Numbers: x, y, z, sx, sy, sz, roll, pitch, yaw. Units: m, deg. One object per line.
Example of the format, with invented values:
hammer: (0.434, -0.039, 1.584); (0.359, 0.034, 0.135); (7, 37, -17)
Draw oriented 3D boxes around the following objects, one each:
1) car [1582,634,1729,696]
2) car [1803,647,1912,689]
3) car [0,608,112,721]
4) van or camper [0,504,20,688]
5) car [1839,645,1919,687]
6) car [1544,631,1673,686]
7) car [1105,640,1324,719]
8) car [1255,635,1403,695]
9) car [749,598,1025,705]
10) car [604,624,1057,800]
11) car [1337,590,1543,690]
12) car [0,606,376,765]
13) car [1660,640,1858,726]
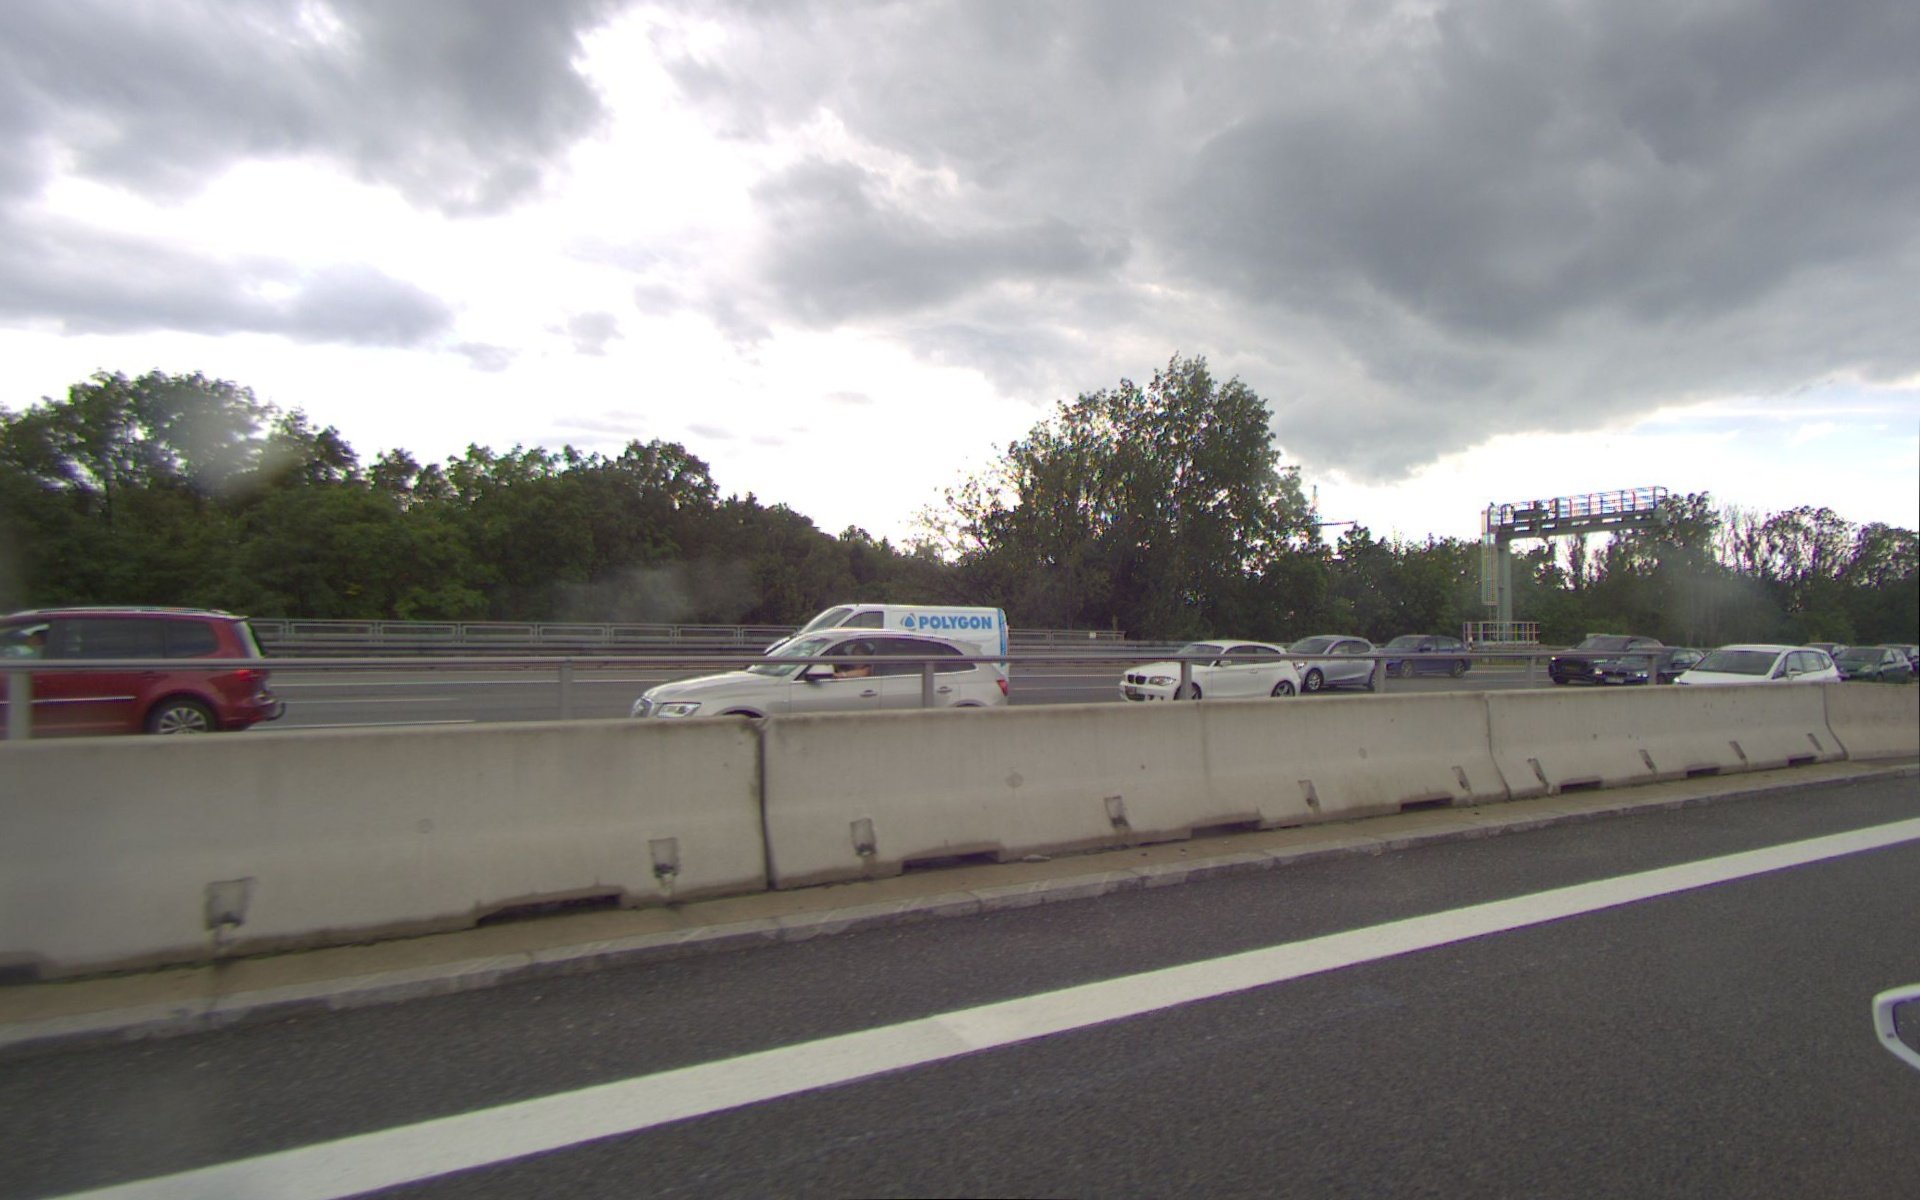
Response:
car: (20.915, 1.932, 30.167); (4.461, 1.668, 1.716); (2, 0, -27)
car: (33.149, 2.488, 37.075); (4.149, 1.437, 1.716); (2, -2, -28)
car: (-14.900, 0.834, 13.558); (4.956, 1.475, 1.716); (2, 0, -28)
van or camper: (-19.901, -0.181, 14.775); (8.376, 3.164, 2.613); (2, 0, -30)
car: (41.256, 2.925, 44.530); (5.171, 1.668, 1.716); (2, 0, -28)
car: (22.010, 1.977, 34.071); (4.463, 1.668, 1.716); (2, 0, -28)
car: (5.380, 1.625, 21.091); (4.463, 1.434, 1.716); (2, 0, -28)
car: (10.284, 1.791, 27.928); (3.912, 1.498, 1.715); (2, 0, -29)
car: (-1.424, 1.056, 20.815); (5.481, 1.962, 1.680); (2, 0, -29)
car: (-1.436, 1.210, 11.871); (4.999, 1.668, 1.716); (2, 0, -28)
car: (17.525, 1.437, 36.496); (7.845, 3.282, 2.715); (2, 0, -30)
car: (-9.748, 0.980, 12.192); (4.463, 1.668, 1.716); (2, 0, -28)
car: (17.967, 1.809, 22.528); (4.937, 1.668, 1.715); (2, 0, -29)
